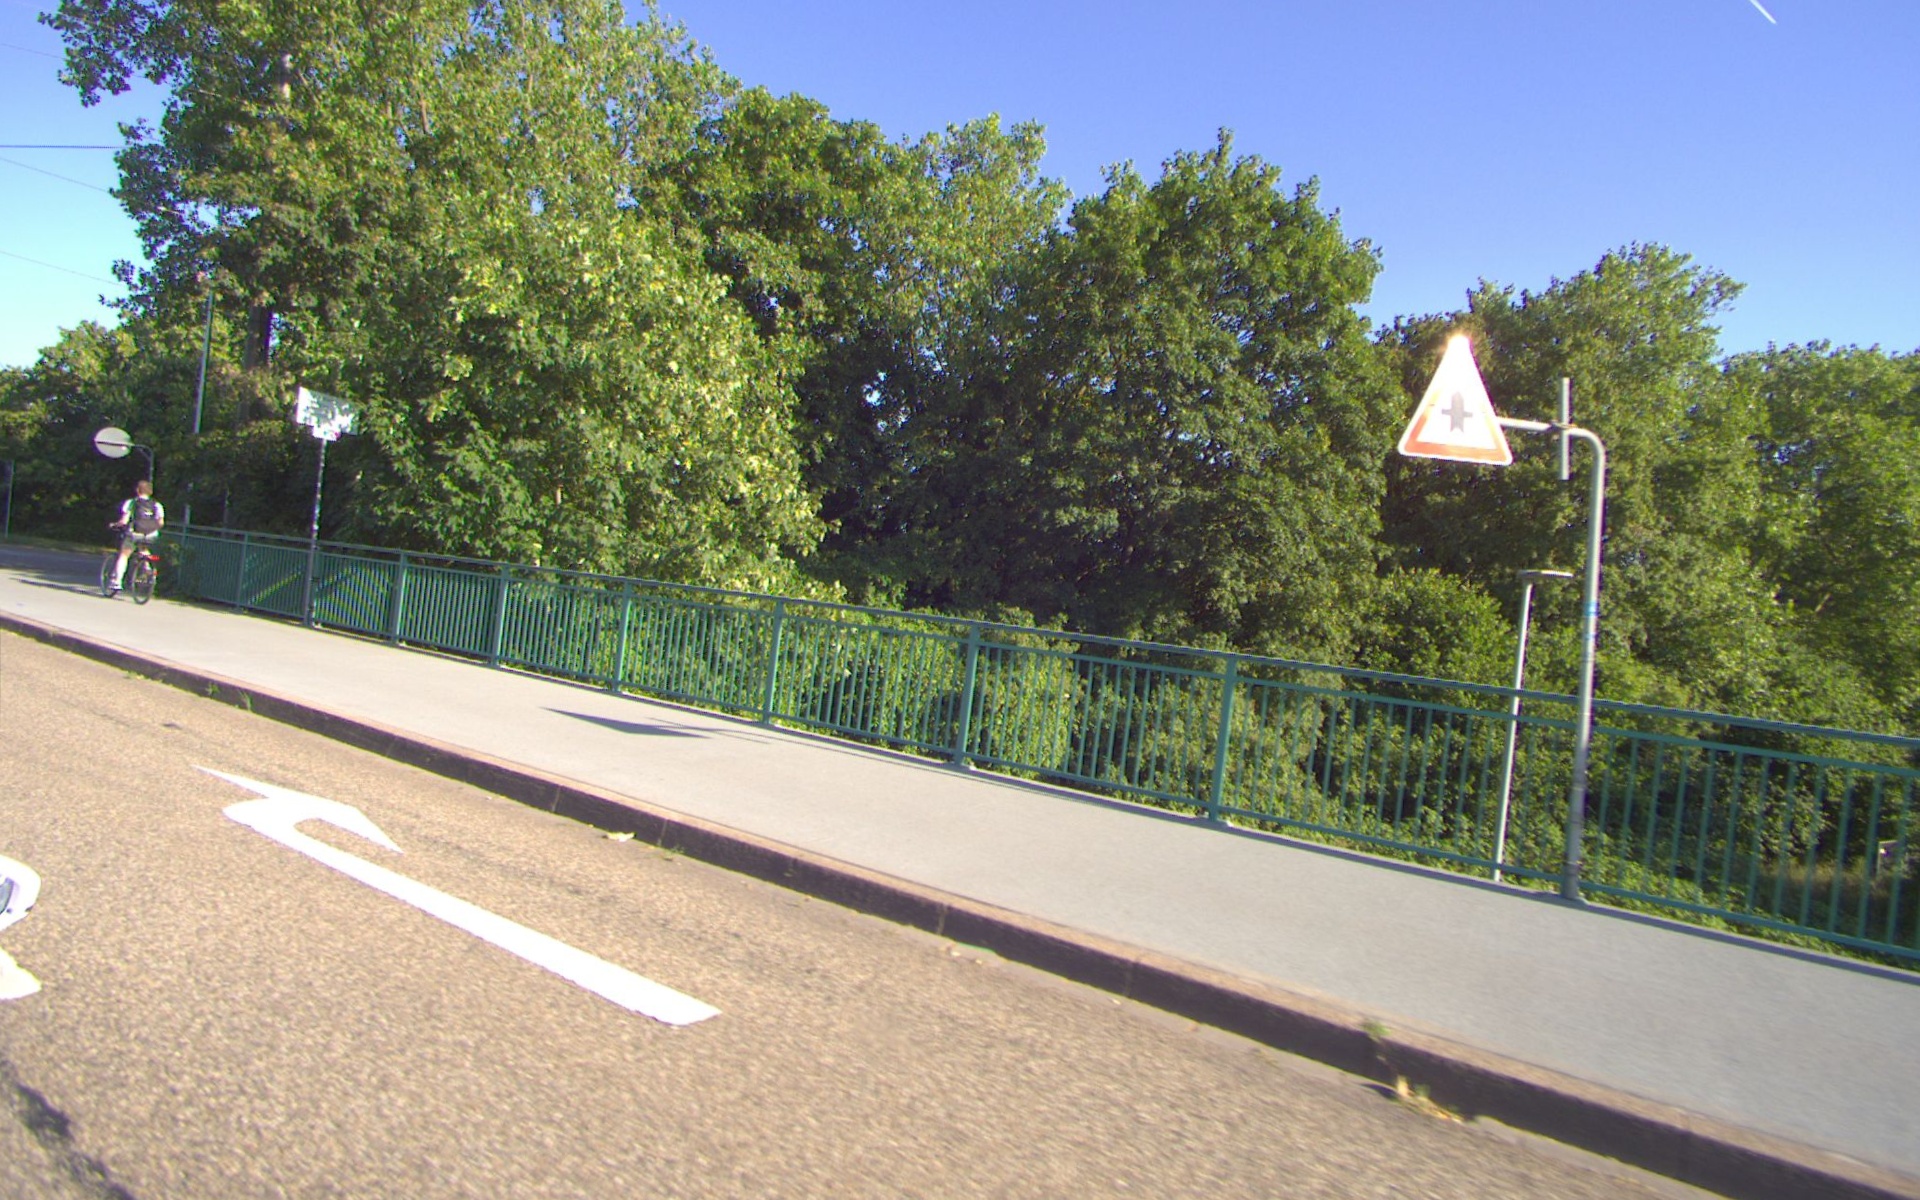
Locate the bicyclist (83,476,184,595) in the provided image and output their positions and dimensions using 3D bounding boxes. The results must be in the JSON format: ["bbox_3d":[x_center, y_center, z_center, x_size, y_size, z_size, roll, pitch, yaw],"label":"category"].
[{"bbox_3d":[-13.047,-1.025,15.882,1.182,1.709,0.732,7,-1,32],"label":"bicyclist"}]

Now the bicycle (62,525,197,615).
[{"bbox_3d":[-13.143,-0.490,15.884,2.697,1.136,0.732,6,-1,32],"label":"bicycle"}]
